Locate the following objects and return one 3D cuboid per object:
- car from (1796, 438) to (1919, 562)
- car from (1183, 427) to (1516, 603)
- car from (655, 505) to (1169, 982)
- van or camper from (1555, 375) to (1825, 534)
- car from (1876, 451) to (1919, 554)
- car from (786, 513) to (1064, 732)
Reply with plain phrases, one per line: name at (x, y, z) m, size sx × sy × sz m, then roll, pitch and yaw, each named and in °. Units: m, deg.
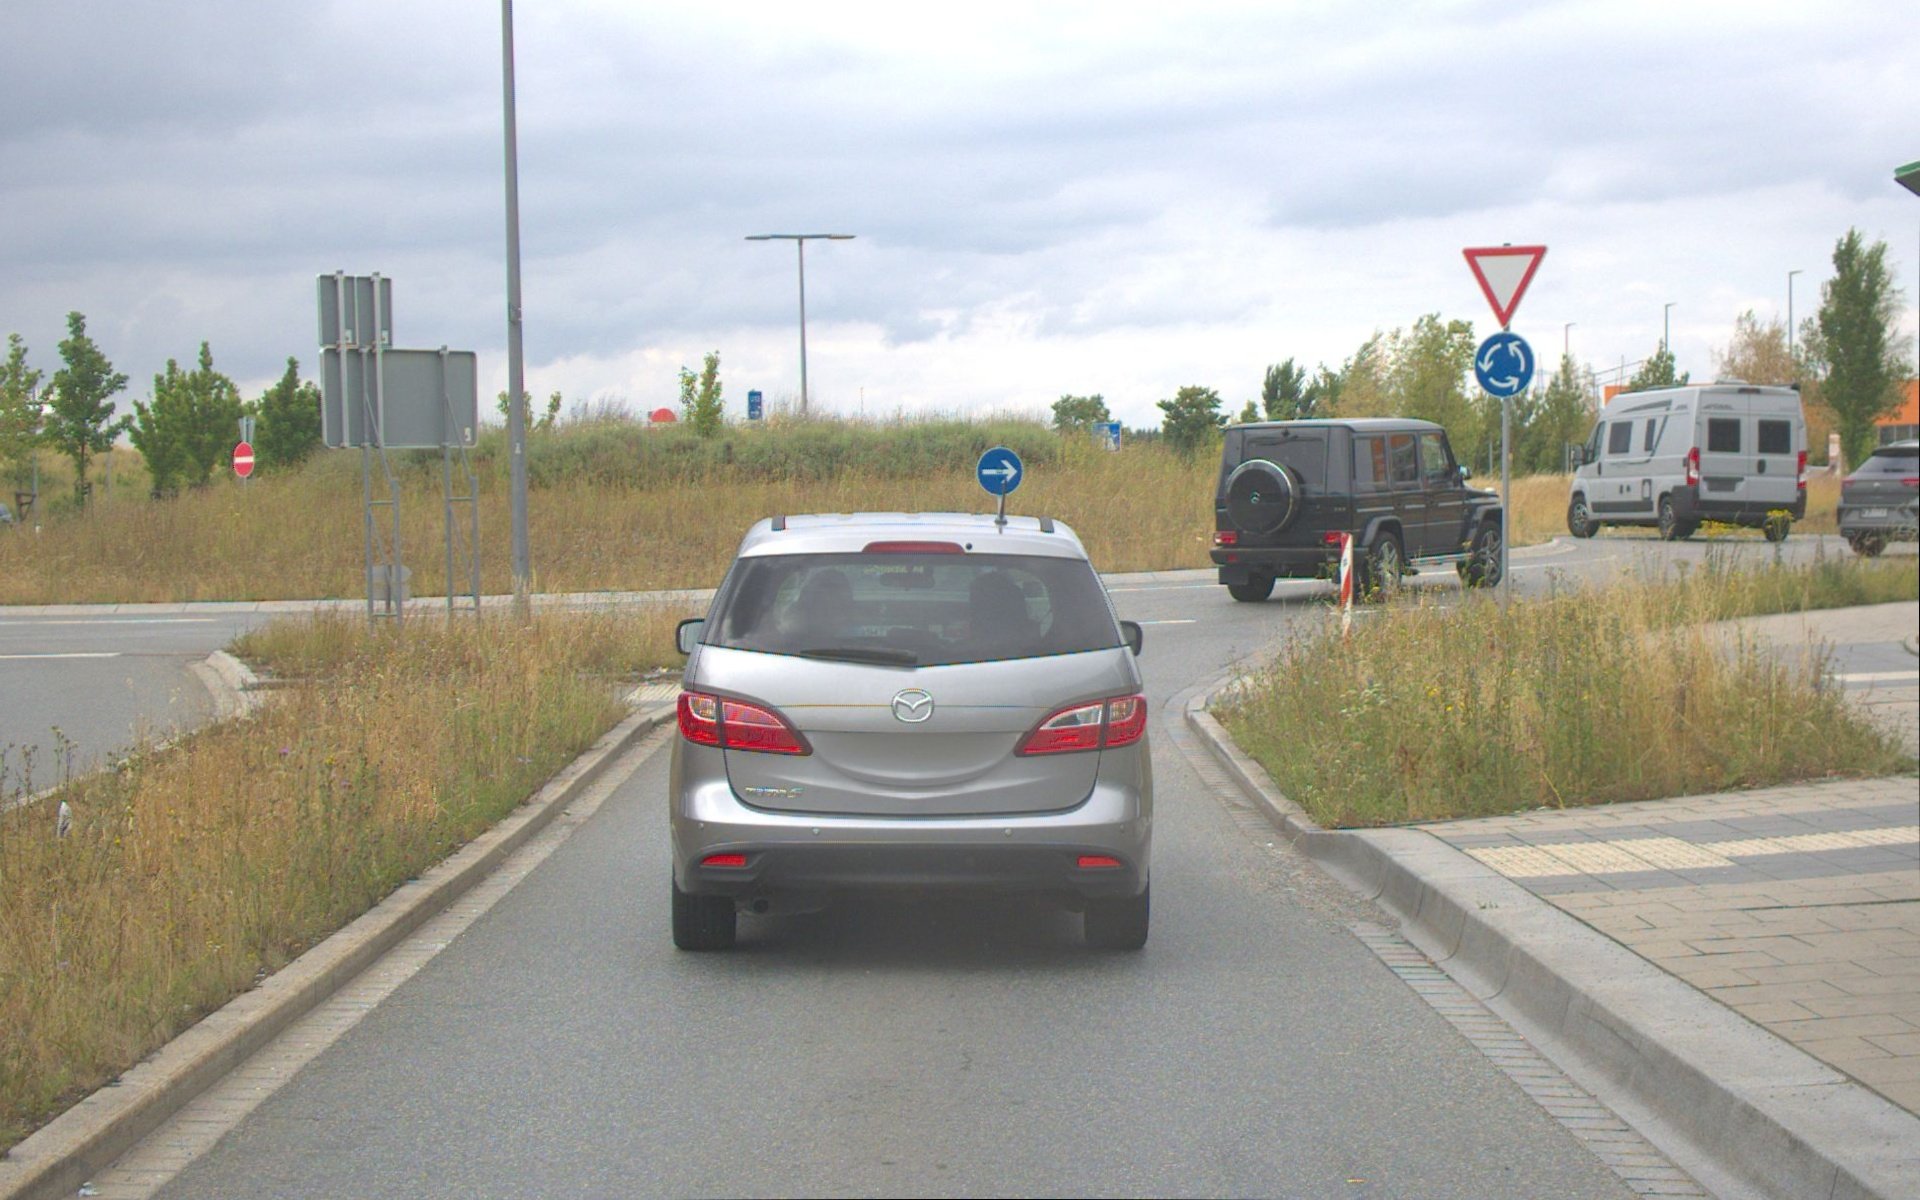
car at (13.564, -1.404, 46.200) m, size 4.190 × 1.587 × 2.065 m, roll -3°, pitch 2°, yaw -28°
car at (4.410, -0.937, 38.199) m, size 2.061 × 1.819 × 4.779 m, roll 0°, pitch 1°, yaw 28°
car at (-0.207, 0.435, 13.495) m, size 1.729 × 1.594 × 3.807 m, roll 0°, pitch 2°, yaw -1°
van or camper at (12.049, -2.380, 57.135) m, size 2.302 × 2.497 × 5.208 m, roll -1°, pitch 2°, yaw -15°
car at (18.129, -1.688, 58.788) m, size 4.604 × 1.751 × 1.999 m, roll 0°, pitch 1°, yaw 11°
car at (-0.181, 0.100, 25.239) m, size 1.845 × 1.413 × 4.225 m, roll -1°, pitch 2°, yaw 1°
